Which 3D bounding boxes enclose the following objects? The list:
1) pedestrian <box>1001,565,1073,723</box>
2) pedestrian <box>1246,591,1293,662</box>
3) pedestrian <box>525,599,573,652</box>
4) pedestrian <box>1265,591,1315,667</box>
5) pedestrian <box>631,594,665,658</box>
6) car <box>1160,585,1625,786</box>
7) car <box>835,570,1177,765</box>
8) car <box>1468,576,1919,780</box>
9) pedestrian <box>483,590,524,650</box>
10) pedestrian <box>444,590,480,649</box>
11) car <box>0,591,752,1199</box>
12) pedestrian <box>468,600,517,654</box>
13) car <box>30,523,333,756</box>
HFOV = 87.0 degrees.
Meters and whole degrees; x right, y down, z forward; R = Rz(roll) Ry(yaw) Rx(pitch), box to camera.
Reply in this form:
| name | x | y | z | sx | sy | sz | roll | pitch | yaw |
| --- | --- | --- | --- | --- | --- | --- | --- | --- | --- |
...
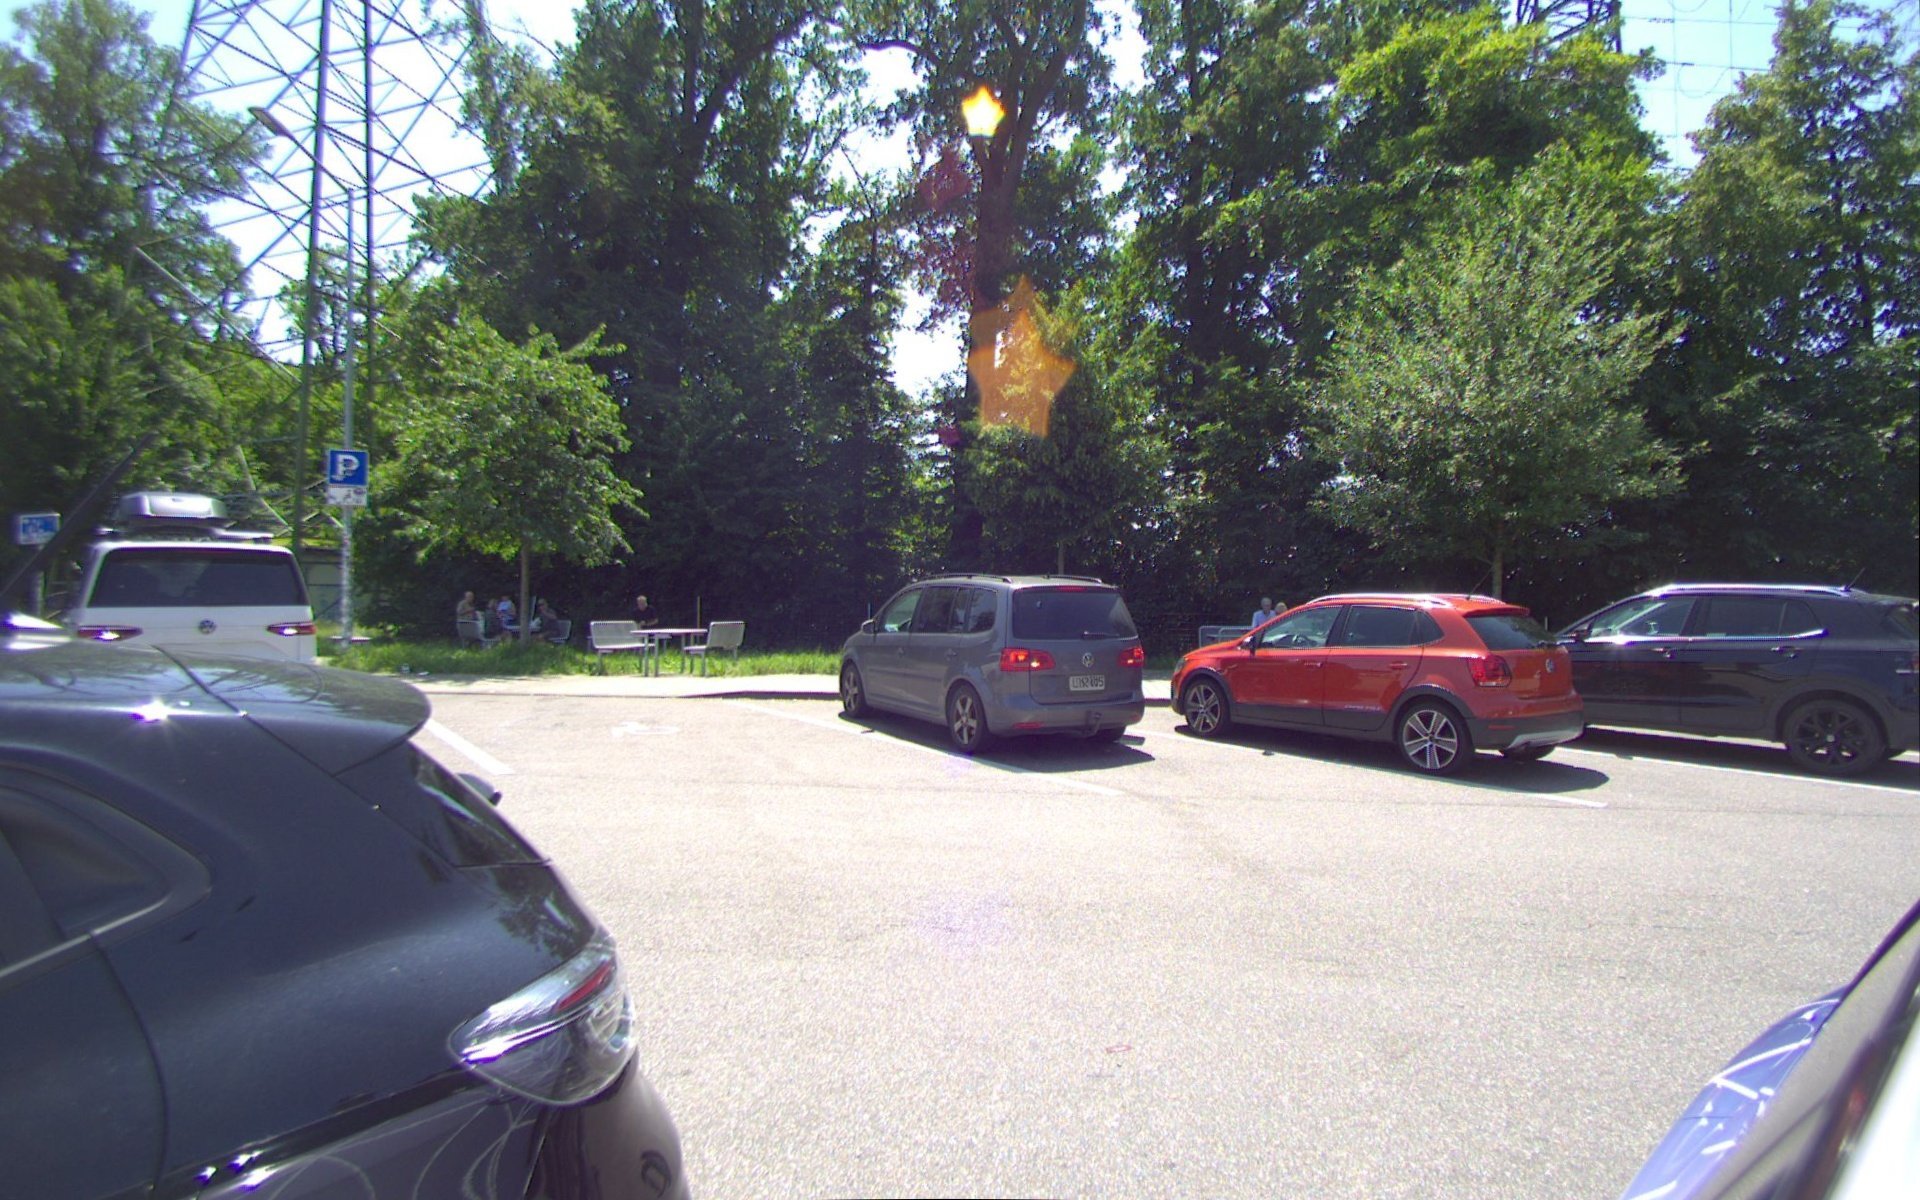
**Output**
| name | x | y | z | sx | sy | sz | roll | pitch | yaw |
| --- | --- | --- | --- | --- | --- | --- | --- | --- | --- |
| pedestrian | 0.885 | 0.466 | 11.427 | 0.722 | 1.703 | 0.917 | 0 | 0 | 10 |
| pedestrian | 5.787 | 0.481 | 18.960 | 0.657 | 1.311 | 0.783 | 0 | 0 | 3 |
| pedestrian | -9.600 | 0.580 | 23.618 | 0.873 | 1.192 | 0.668 | 0 | 0 | -41 |
| pedestrian | 5.782 | 0.492 | 17.761 | 0.657 | 1.311 | 0.783 | 0 | 0 | 3 |
| pedestrian | -6.544 | 0.526 | 21.274 | 0.655 | 1.311 | 0.786 | 0 | 0 | -16 |
| car | 3.855 | 0.614 | 9.641 | 1.687 | 1.484 | 3.793 | 0 | 1 | -32 |
| car | 0.255 | 0.521 | 10.511 | 1.713 | 1.601 | 3.996 | 0 | 1 | -29 |
| car | 7.181 | 0.579 | 9.701 | 1.690 | 1.593 | 3.787 | 0 | 1 | -39 |
| pedestrian | -11.042 | 0.465 | 24.490 | 0.664 | 1.422 | 0.643 | 0 | 0 | 32 |
| pedestrian | -12.184 | 0.468 | 24.742 | 0.657 | 1.422 | 0.649 | 0 | 0 | -39 |
| car | -2.201 | 0.724 | 0.592 | 1.737 | 1.501 | 3.757 | 0 | 0 | 44 |
| pedestrian | -10.516 | 0.593 | 22.764 | 0.873 | 1.192 | 0.668 | 0 | 0 | -41 |
| car | -8.355 | 0.289 | 10.685 | 4.549 | 1.936 | 1.882 | 1 | 1 | 44 |
